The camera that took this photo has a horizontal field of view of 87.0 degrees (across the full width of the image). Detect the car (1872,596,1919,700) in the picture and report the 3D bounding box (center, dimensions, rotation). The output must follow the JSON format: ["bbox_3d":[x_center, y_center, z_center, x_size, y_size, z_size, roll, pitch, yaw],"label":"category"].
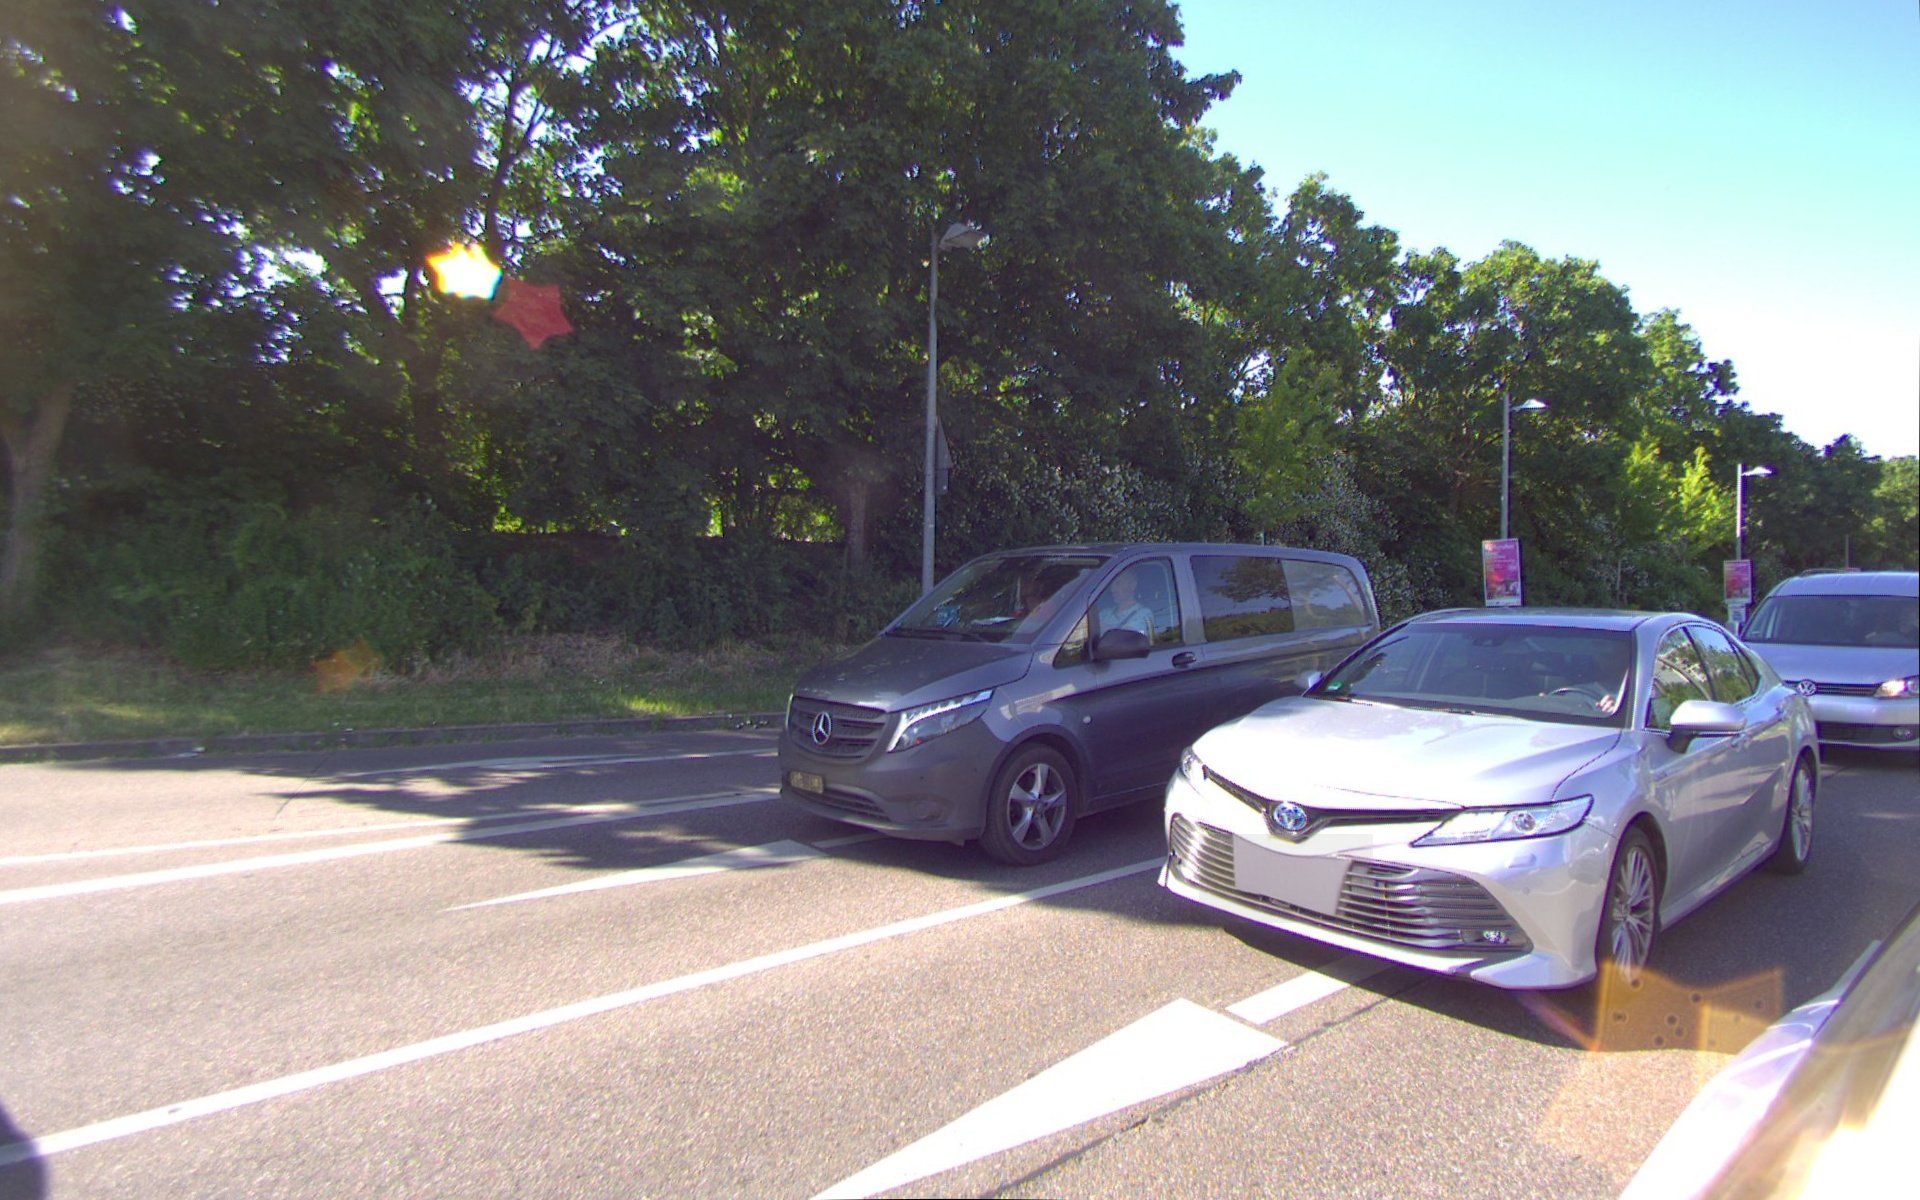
[{"bbox_3d":[14.978,0.673,14.879,3.995,1.421,1.776,0,2,-40],"label":"car"}]

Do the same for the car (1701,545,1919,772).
[{"bbox_3d":[9.507,0.470,10.554,4.540,1.928,1.822,0,1,-40],"label":"car"}]

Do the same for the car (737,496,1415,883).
[{"bbox_3d":[1.133,0.408,7.407,5.056,1.917,1.998,0,1,-40],"label":"car"}]

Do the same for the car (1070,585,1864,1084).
[{"bbox_3d":[2.955,0.693,5.362,4.664,1.477,2.069,0,2,-40],"label":"car"}]
